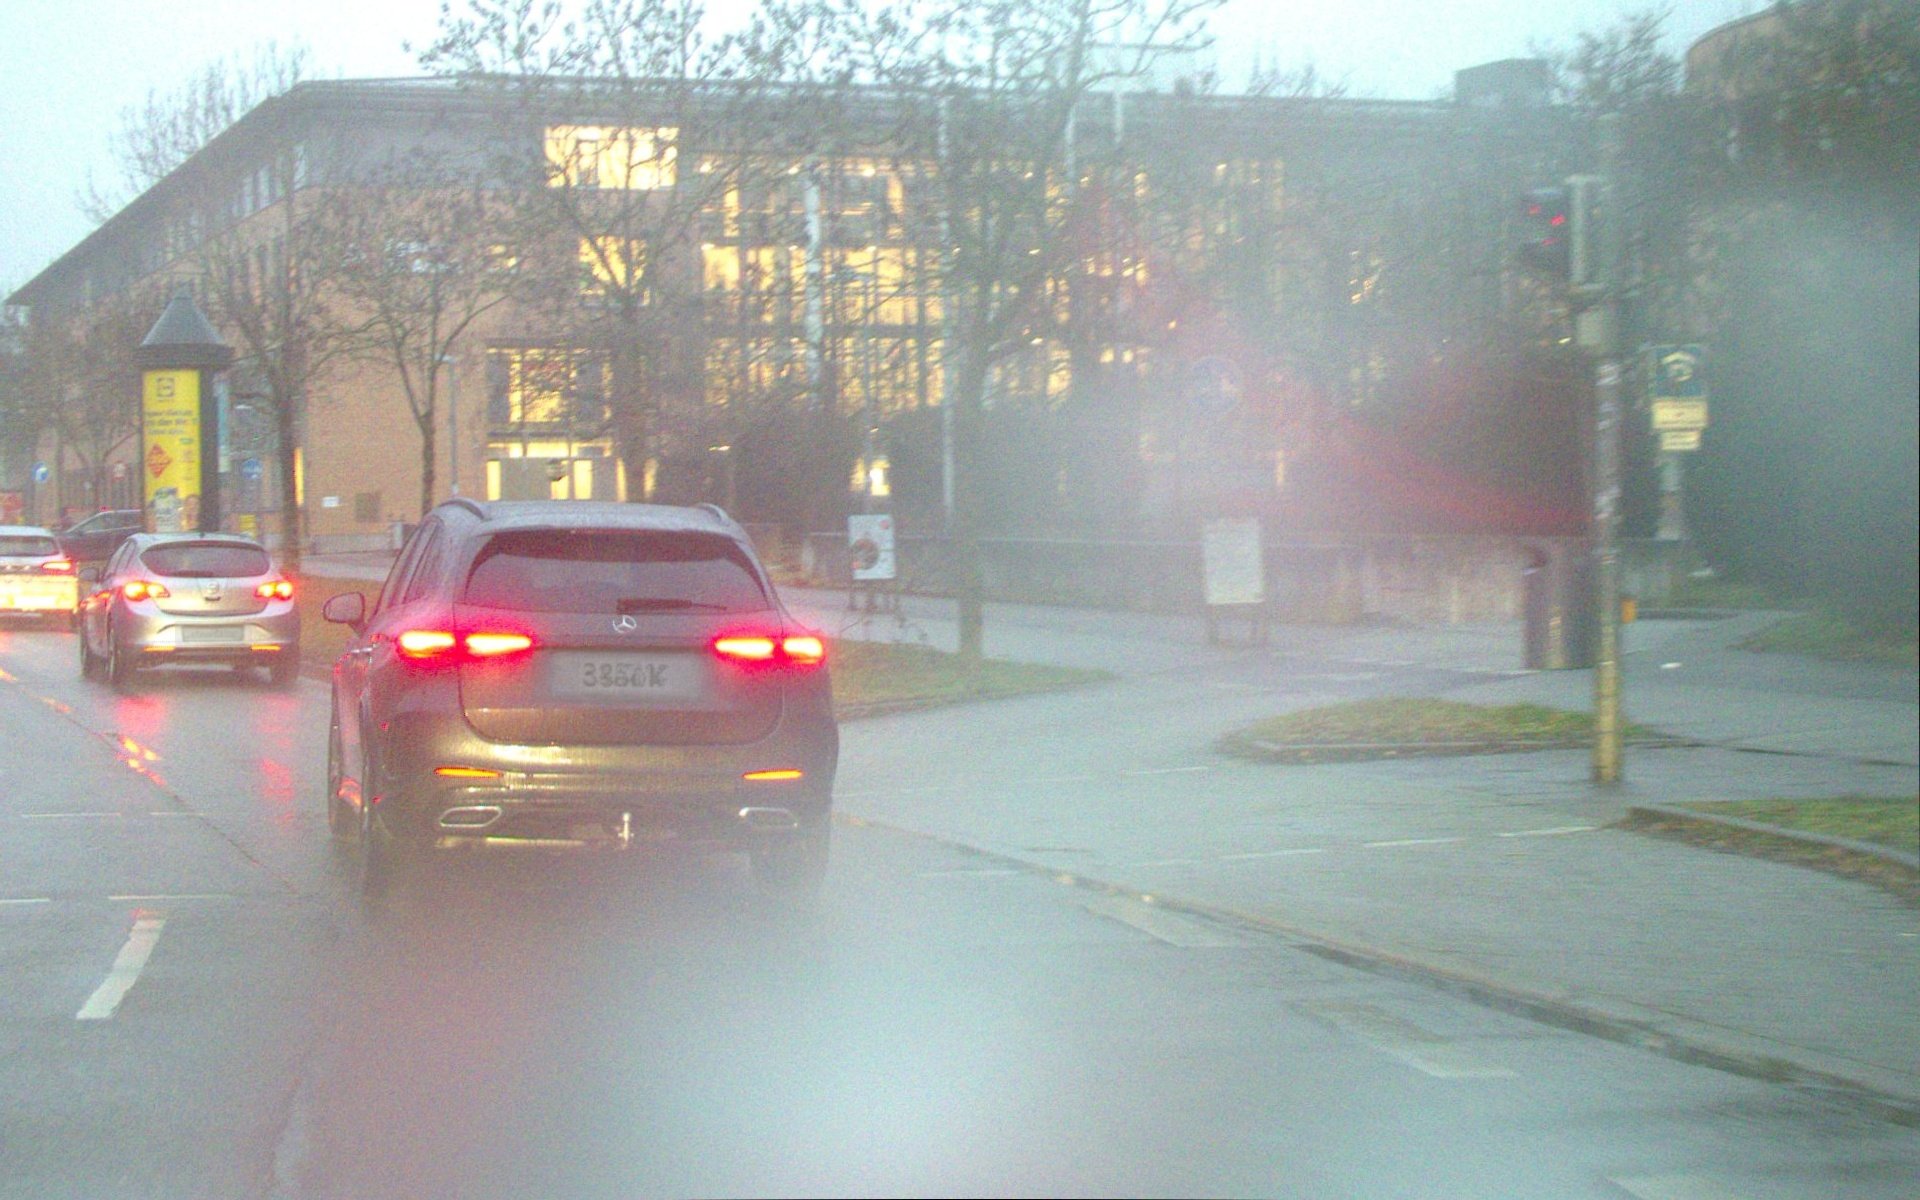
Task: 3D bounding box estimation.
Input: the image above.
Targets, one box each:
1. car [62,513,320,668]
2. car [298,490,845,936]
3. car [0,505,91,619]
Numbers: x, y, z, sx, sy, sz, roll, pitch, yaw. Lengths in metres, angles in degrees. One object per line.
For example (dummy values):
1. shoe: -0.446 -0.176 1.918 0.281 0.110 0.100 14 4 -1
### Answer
1. car: -7.758 -0.143 34.419 1.993 1.403 4.001 -2 2 -20
2. car: -1.812 0.349 14.812 1.990 1.610 4.001 -1 2 -11
3. car: -14.350 -0.600 51.817 1.993 1.612 4.001 -2 2 -20
